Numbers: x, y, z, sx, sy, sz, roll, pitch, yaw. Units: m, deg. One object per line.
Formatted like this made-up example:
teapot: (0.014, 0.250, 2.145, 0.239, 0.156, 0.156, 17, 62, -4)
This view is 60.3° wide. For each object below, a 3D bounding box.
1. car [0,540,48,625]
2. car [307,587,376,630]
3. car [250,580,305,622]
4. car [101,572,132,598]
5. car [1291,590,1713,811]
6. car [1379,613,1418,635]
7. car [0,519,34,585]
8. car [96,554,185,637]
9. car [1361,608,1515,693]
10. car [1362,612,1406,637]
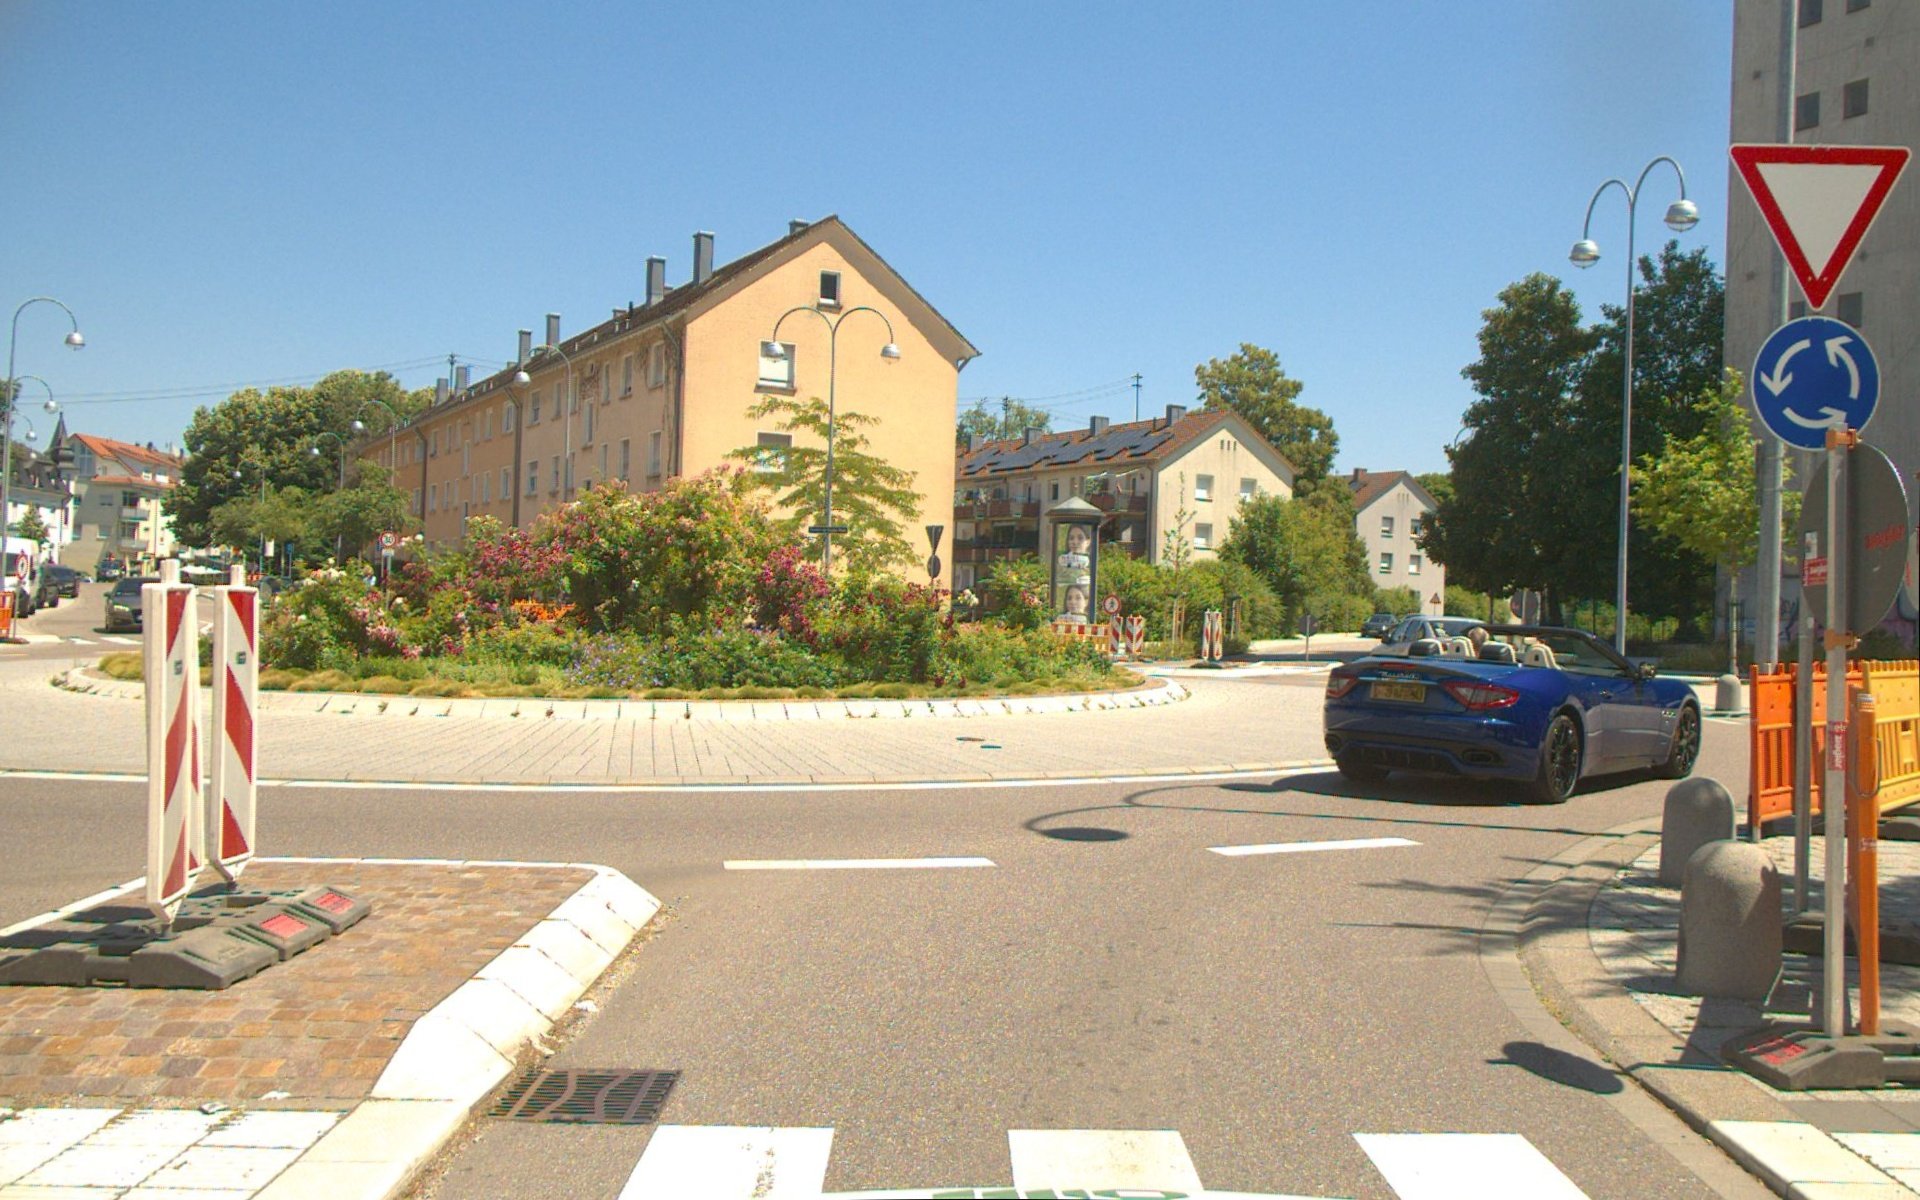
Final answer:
car: (-31.111, -0.590, 53.847, 2.119, 2.577, 6.182, 4, -1, -27)
car: (-23.695, 0.310, 63.309, 1.794, 1.526, 3.959, 4, -1, -30)
car: (-31.950, 0.026, 77.338, 1.794, 1.825, 3.959, 4, -1, -30)
car: (-63.208, -1.126, 123.943, 1.794, 1.825, 3.959, 4, -1, -30)
car: (4.777, 0.849, 14.152, 1.843, 1.557, 4.481, 1, -3, 41)
car: (29.431, 1.603, 110.959, 1.705, 1.461, 3.705, 0, 0, 28)
car: (-39.607, -1.986, 68.208, 2.119, 2.577, 4.812, 4, -1, -27)
car: (-22.178, -0.123, 44.862, 1.969, 2.049, 3.967, 3, -1, -26)
car: (8.724, 0.890, 30.504, 1.703, 1.461, 3.709, 0, 0, -1)
car: (25.416, 1.430, 99.093, 1.705, 1.461, 3.705, 0, 0, 28)
